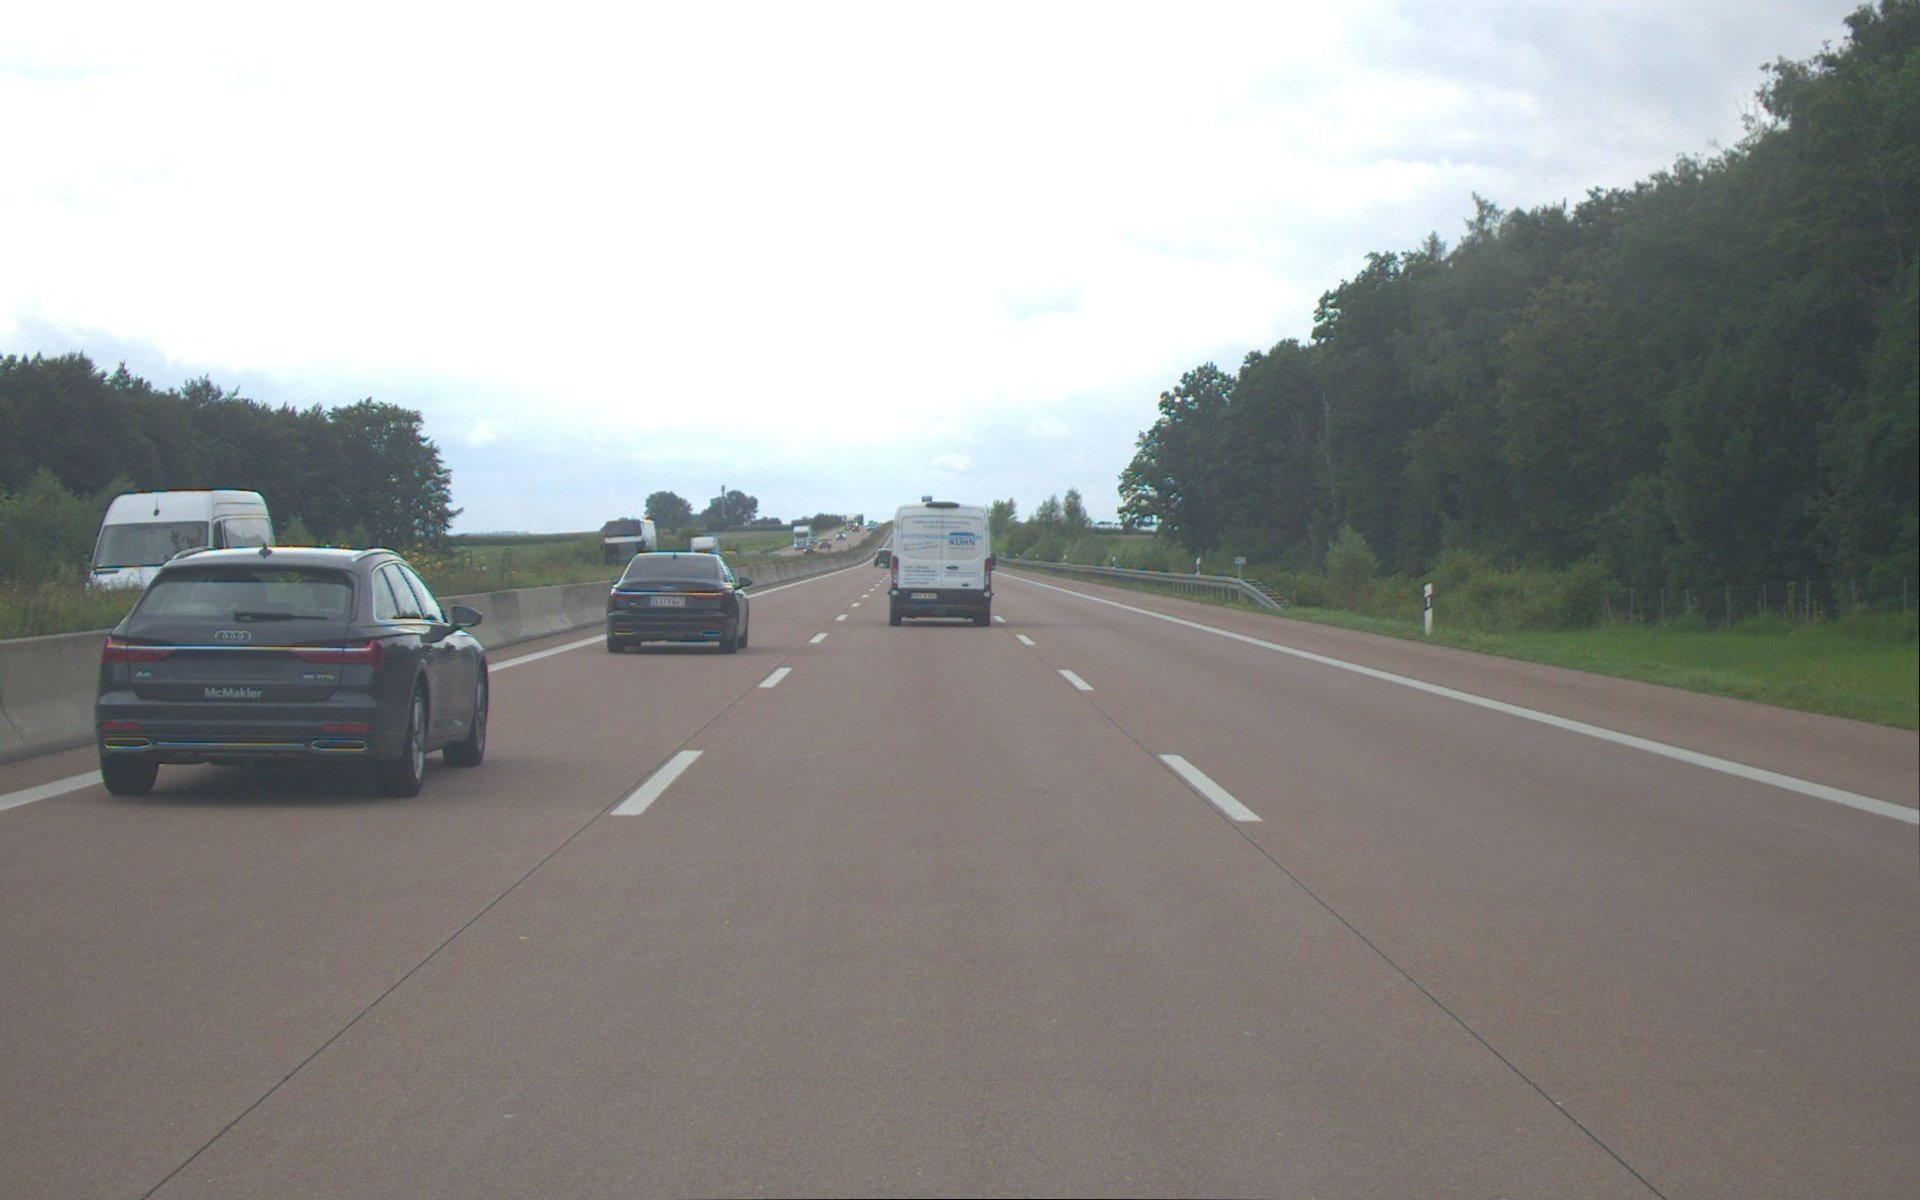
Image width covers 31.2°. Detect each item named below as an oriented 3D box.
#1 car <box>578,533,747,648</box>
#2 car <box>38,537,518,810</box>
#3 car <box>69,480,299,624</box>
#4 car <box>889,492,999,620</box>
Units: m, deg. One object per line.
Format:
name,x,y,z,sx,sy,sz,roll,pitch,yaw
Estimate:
car,-4.321,-0.187,50.715,2.085,1.545,5.675,1,1,-1
car,-4.151,0.361,21.889,2.059,1.486,5.453,1,1,-1
car,-12.509,-0.785,55.959,2.072,2.134,7.488,1,1,-1
car,-0.330,-0.945,70.643,2.137,2.498,7.132,0,1,0
